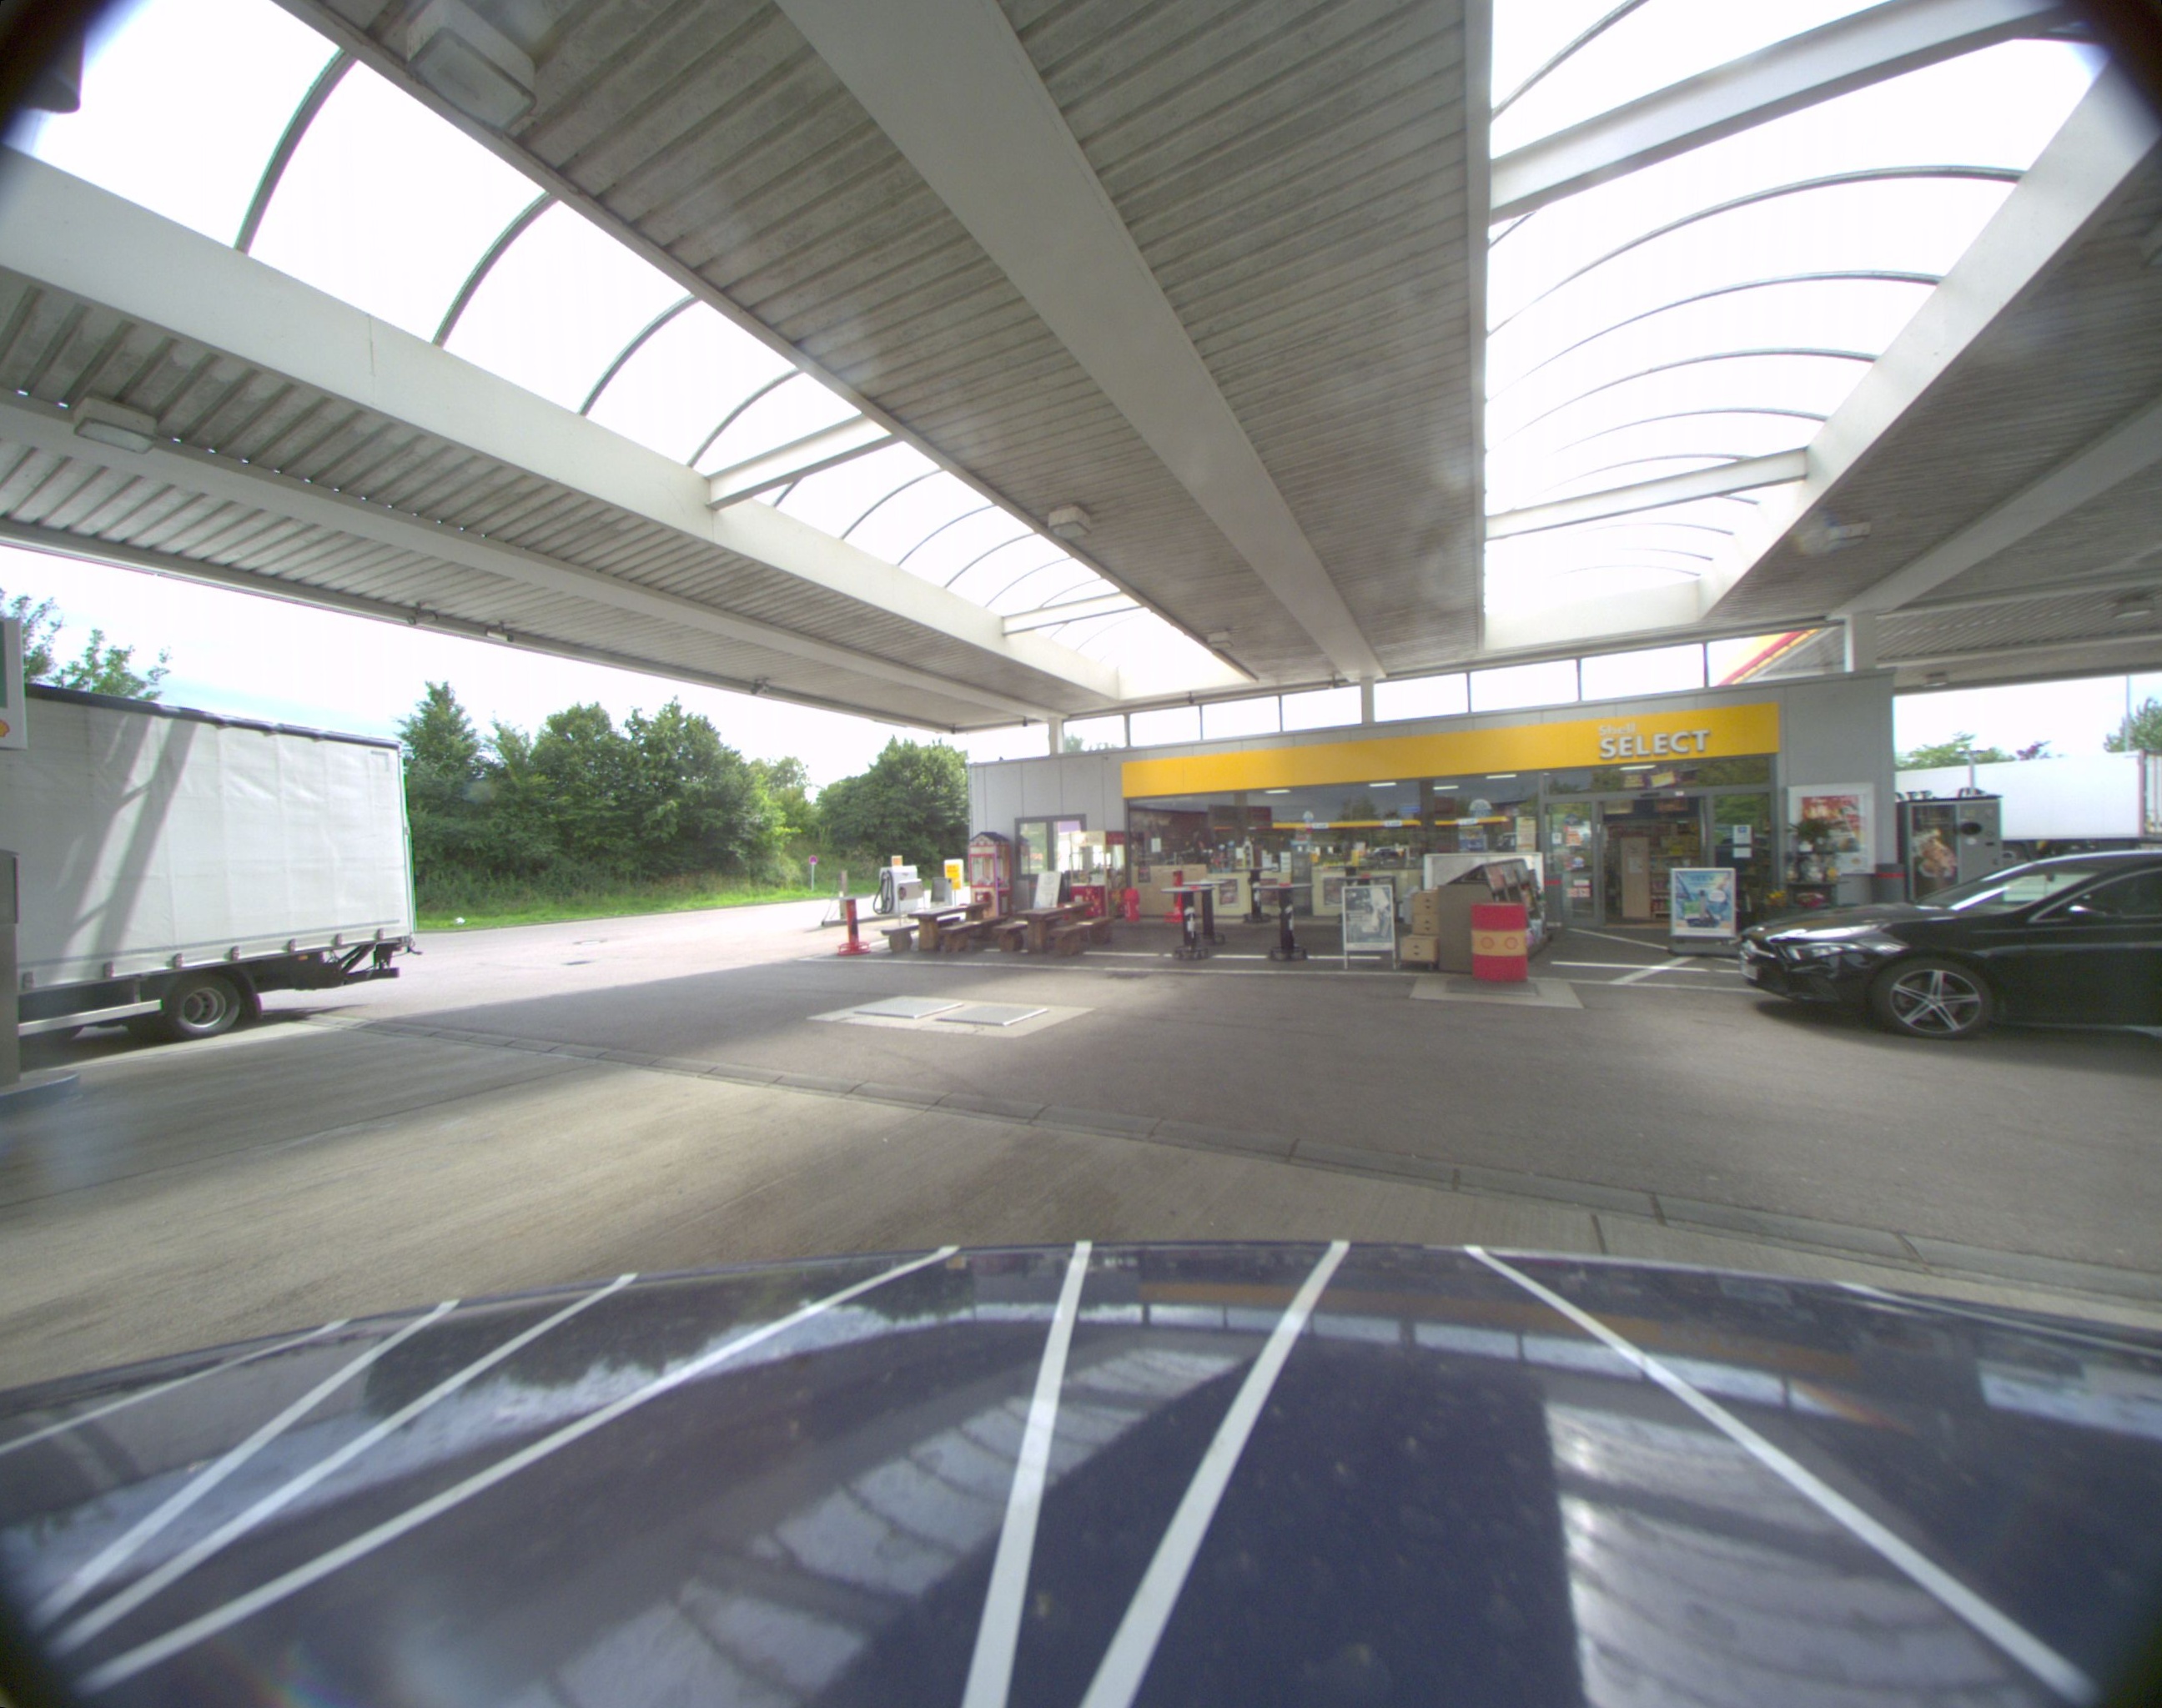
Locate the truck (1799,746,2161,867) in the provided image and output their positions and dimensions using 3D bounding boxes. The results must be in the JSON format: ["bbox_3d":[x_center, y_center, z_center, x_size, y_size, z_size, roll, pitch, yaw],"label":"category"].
[{"bbox_3d":[35.119,-1.614,30.086,2.796,3.982,9.578,-3,1,-16],"label":"truck"}]

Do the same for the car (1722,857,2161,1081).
[{"bbox_3d":[8.163,0.813,5.991,4.461,1.491,1.782,-2,1,28],"label":"car"}]

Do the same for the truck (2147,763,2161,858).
[{"bbox_3d":[51.467,-2.040,33.172,3.383,4.479,6.239,-2,1,29],"label":"truck"}]
